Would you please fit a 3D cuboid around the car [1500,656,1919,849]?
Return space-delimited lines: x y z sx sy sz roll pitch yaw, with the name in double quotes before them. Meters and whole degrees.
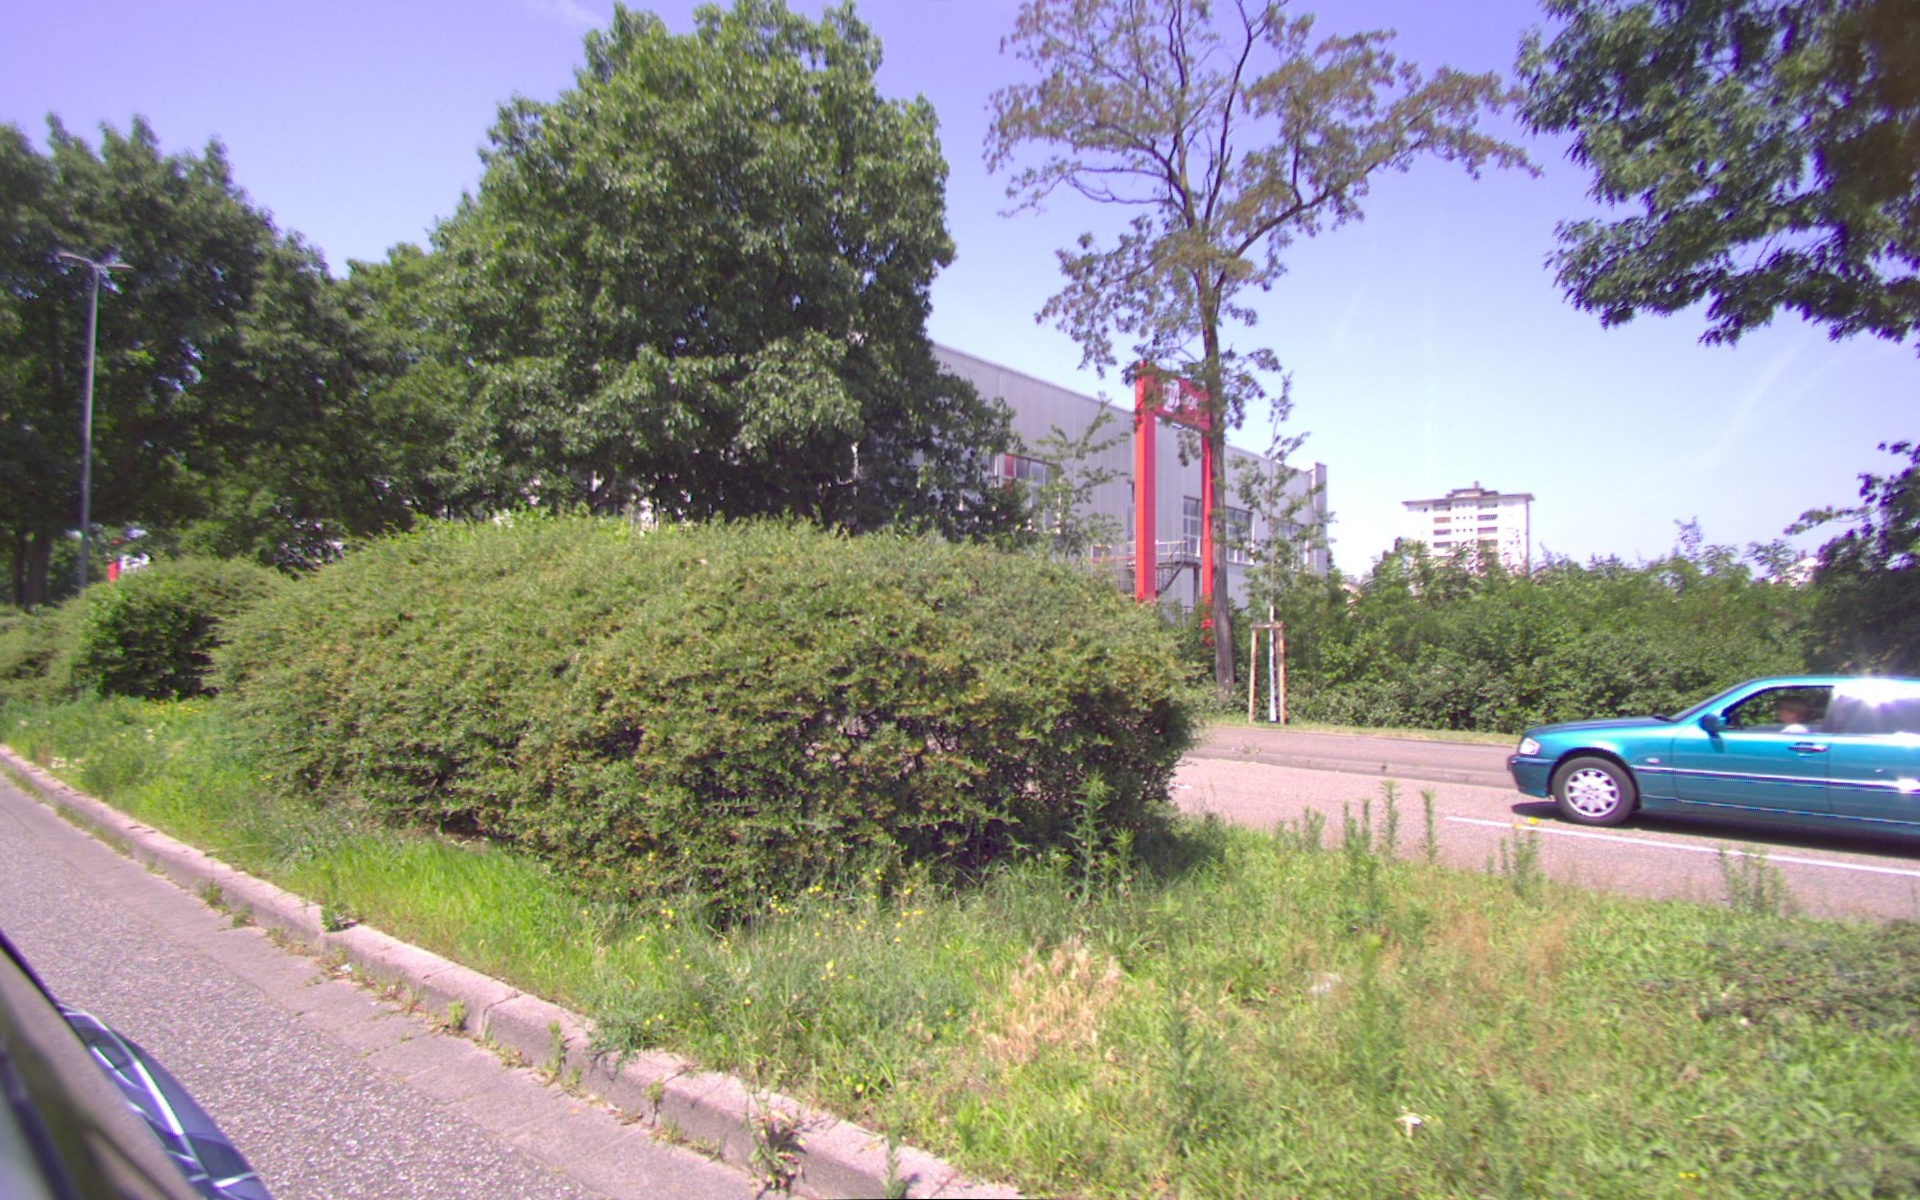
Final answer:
"car" 7.281 1.227 8.521 4.585 1.398 1.669 -2 -6 41
